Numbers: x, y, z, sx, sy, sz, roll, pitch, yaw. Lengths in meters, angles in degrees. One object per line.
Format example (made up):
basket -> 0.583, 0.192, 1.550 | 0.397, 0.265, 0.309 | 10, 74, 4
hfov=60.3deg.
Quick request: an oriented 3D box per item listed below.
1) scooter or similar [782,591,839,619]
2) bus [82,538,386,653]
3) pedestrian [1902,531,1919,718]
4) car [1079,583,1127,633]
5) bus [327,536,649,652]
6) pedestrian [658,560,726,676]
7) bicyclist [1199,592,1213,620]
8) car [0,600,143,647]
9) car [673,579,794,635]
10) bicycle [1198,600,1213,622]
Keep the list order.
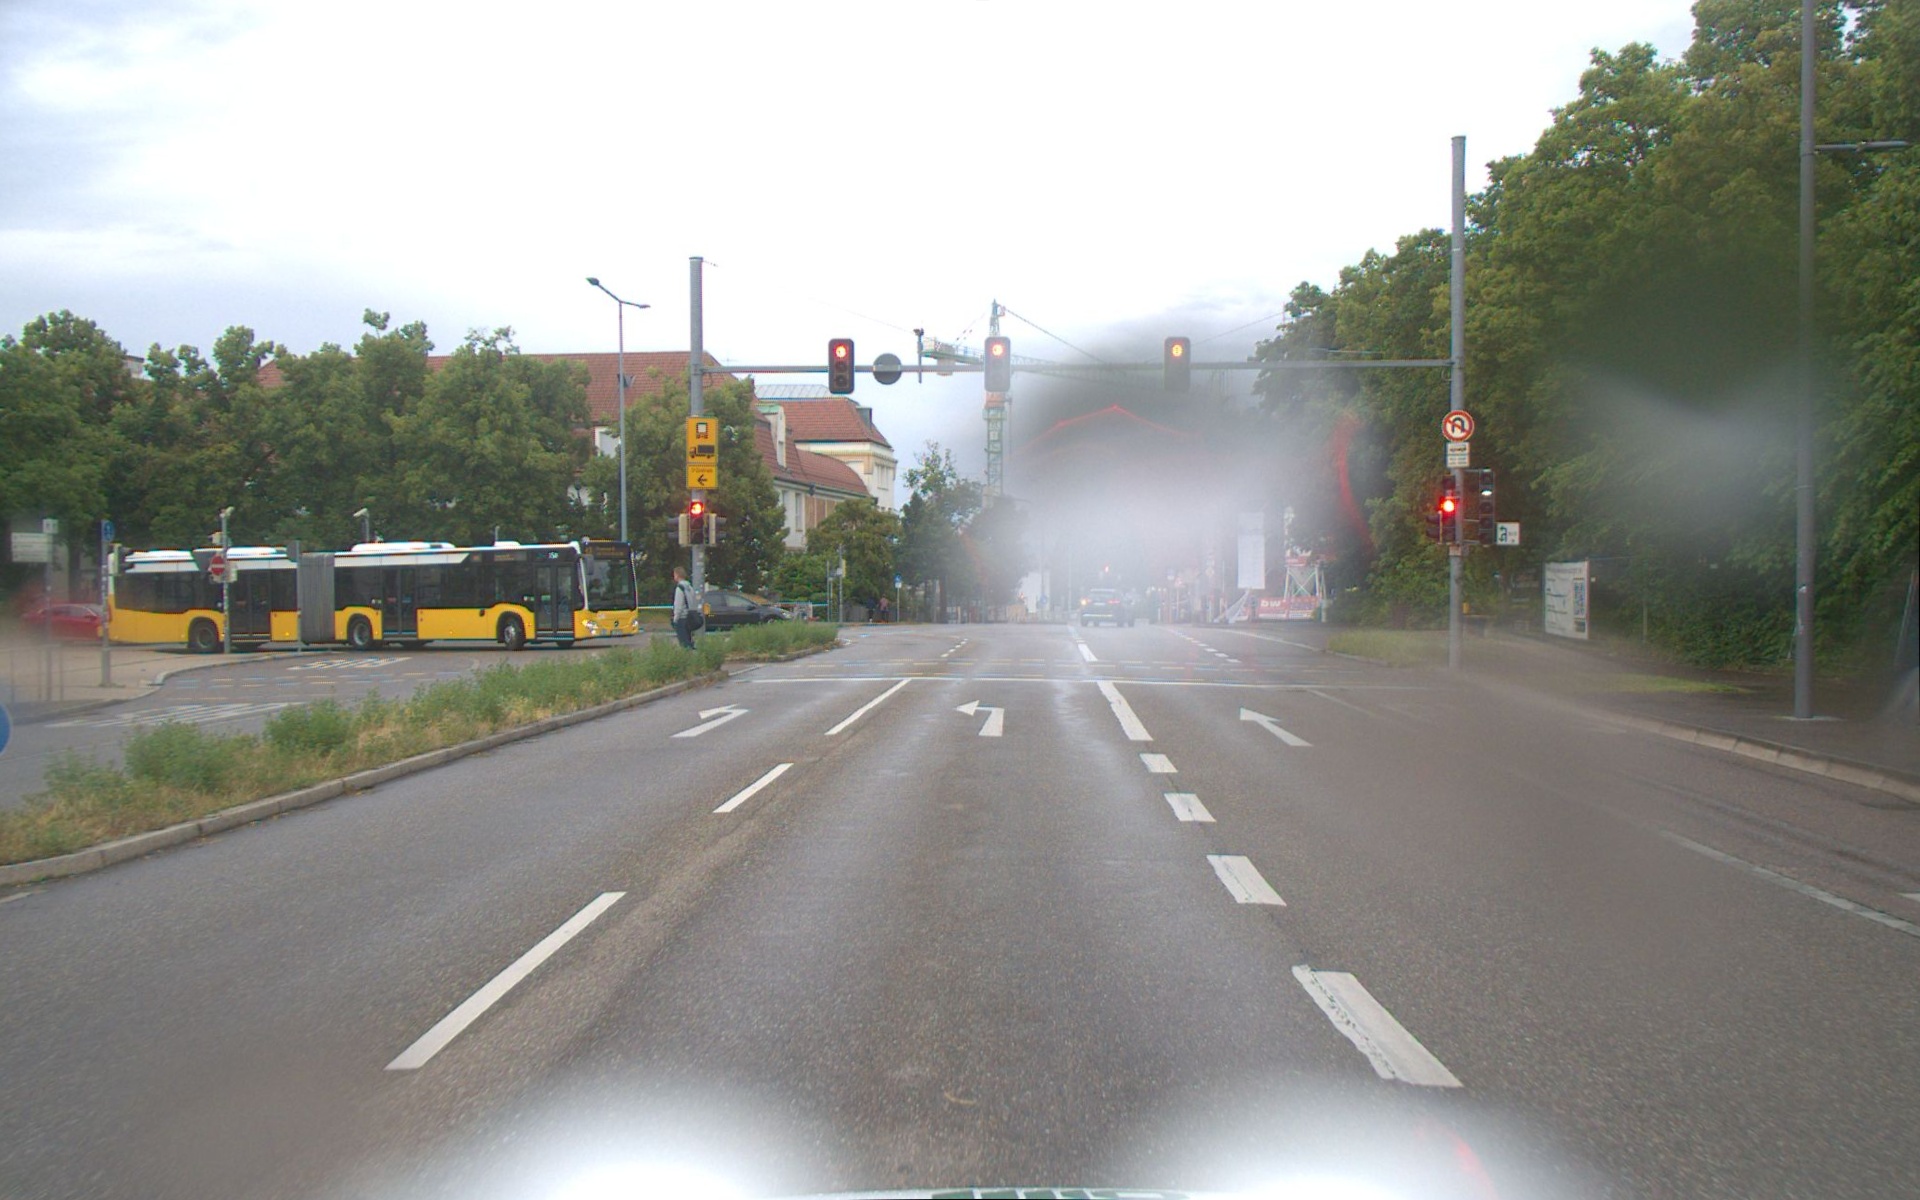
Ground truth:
scooter or similar -> -8.166, 0.270, 90.415 | 3.024, 1.465, 0.949 | -1, 0, 1
bus -> -22.550, -0.140, 51.540 | 8.365, 3.365, 2.900 | -1, 0, 9
pedestrian -> 10.239, 0.254, 17.026 | 0.627, 1.934, 0.718 | -1, 0, -3
car -> 6.318, 0.378, 73.247 | 1.904, 2.056, 4.552 | 1, -1, 3
bus -> -13.890, -0.130, 48.406 | 9.532, 3.157, 2.895 | -1, 0, 25
pedestrian -> -4.892, 0.319, 30.233 | 0.920, 2.048, 0.848 | -3, 0, 8
bicyclist -> 14.193, 0.352, 95.529 | 0.705, 1.591, 1.143 | 1, -1, 4
car -> -30.196, 0.782, 55.573 | 4.477, 1.450, 2.000 | 1, -1, 3
car -> -7.615, 0.250, 55.445 | 3.916, 1.736, 1.994 | 2, -2, -11
bicycle -> 14.193, 0.621, 95.544 | 0.705, 1.214, 1.756 | 1, -1, 4
